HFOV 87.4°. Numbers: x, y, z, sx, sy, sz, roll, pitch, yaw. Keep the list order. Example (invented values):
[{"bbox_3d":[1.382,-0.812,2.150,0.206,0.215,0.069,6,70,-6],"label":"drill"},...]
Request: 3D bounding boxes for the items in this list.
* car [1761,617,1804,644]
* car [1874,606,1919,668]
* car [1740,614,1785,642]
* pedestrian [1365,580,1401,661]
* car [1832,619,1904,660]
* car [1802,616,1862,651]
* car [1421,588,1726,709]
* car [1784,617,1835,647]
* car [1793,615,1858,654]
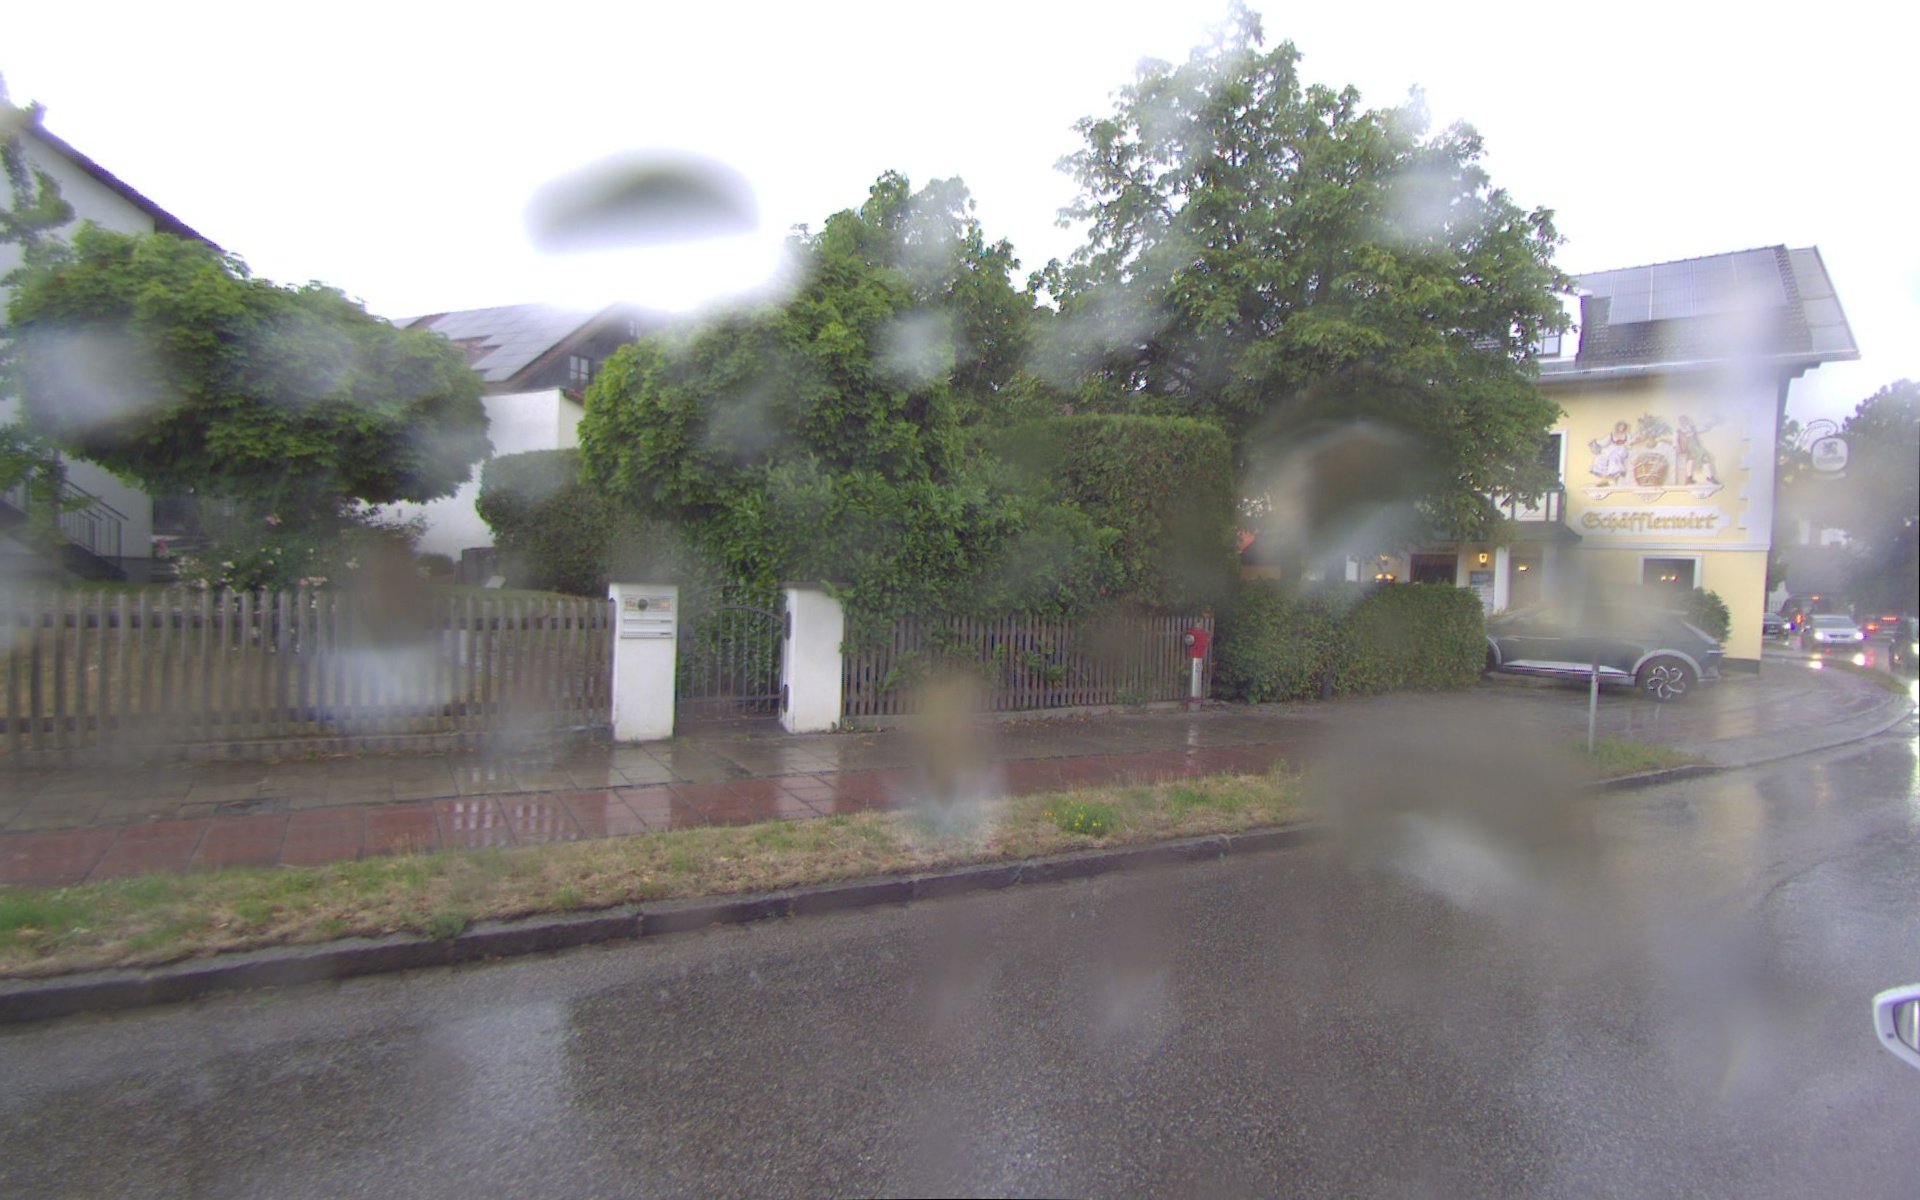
[{"bbox_3d":[66.942,2.429,81.861,2.139,1.925,4.999,3,2,34],"label":"car"},{"bbox_3d":[29.323,1.100,30.310,1.896,1.767,4.180,0,-1,33],"label":"car"},{"bbox_3d":[50.265,1.749,62.961,1.562,1.631,3.534,1,-1,28],"label":"car"},{"bbox_3d":[9.209,0.430,21.890,0.482,1.712,0.554,4,3,10],"label":"pedestrian"},{"bbox_3d":[49.729,2.101,55.118,2.139,1.925,4.999,3,2,34],"label":"car"},{"bbox_3d":[54.944,2.063,63.360,2.139,1.925,4.999,3,2,34],"label":"car"},{"bbox_3d":[10.964,0.766,18.235,4.413,1.589,1.834,6,5,32],"label":"car"},{"bbox_3d":[61.371,2.289,72.652,2.139,1.925,4.999,3,2,34],"label":"car"},{"bbox_3d":[39.958,1.601,46.462,1.729,1.700,3.990,0,-1,33],"label":"car"}]
